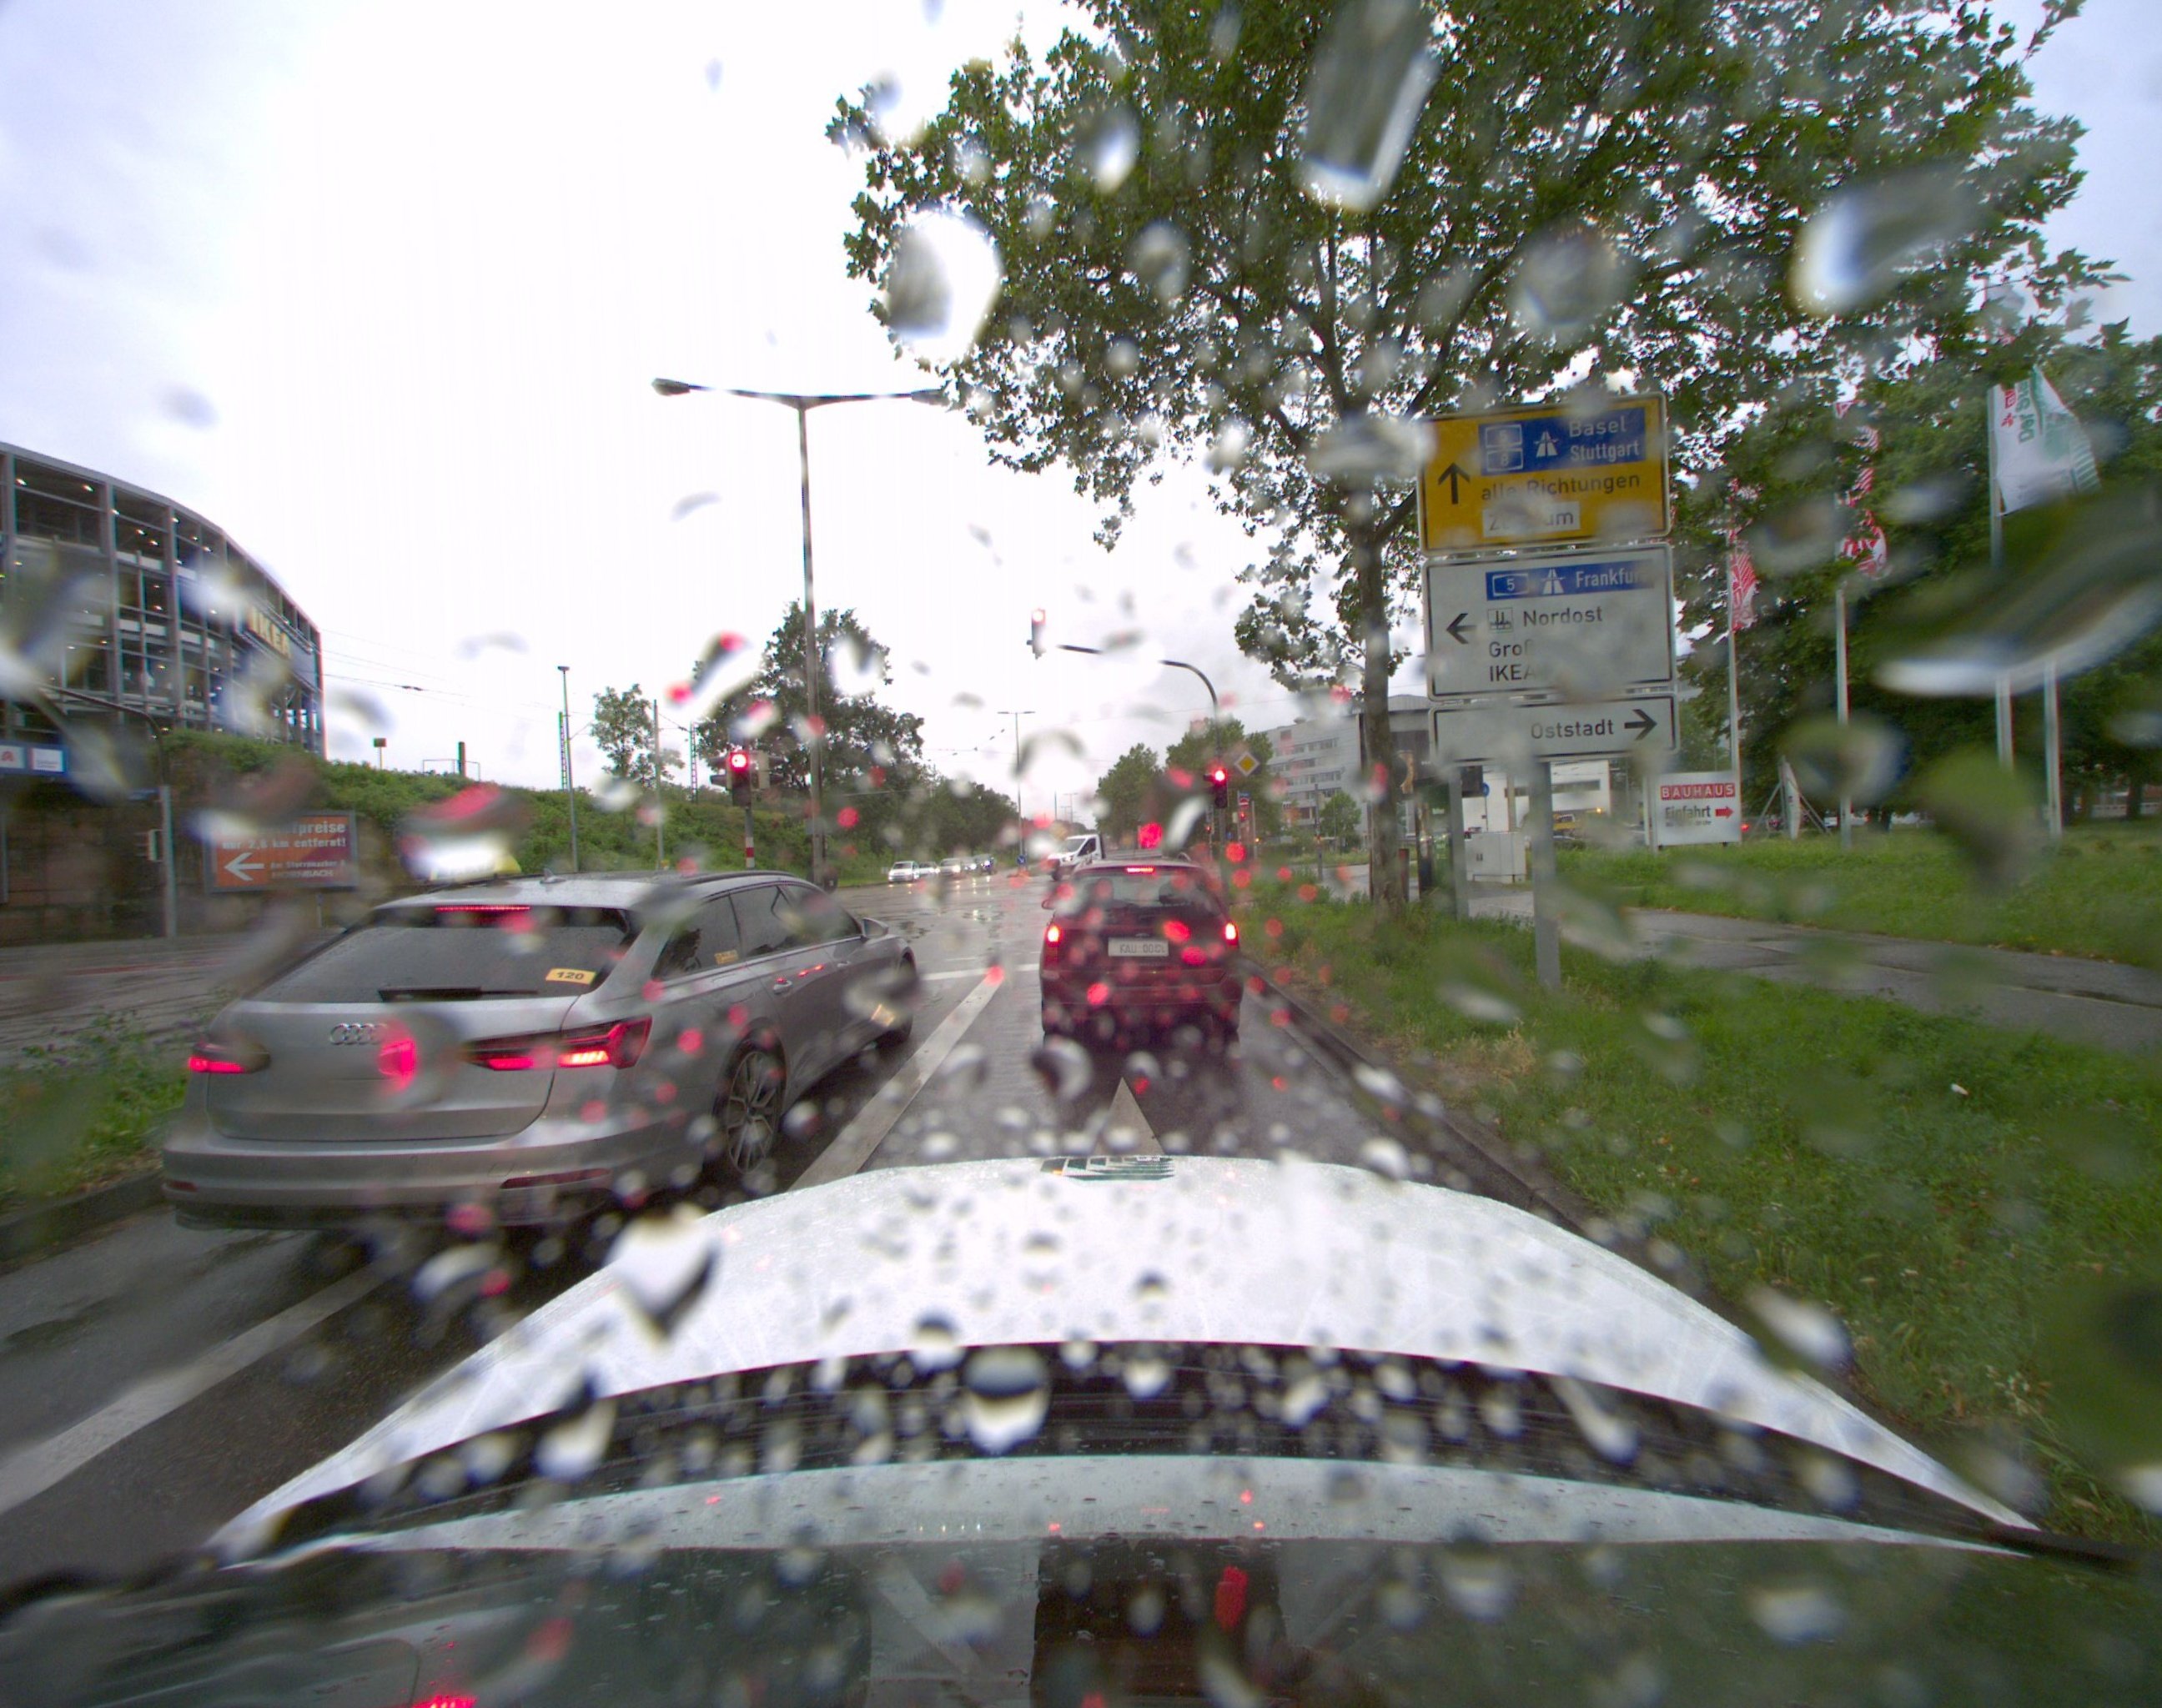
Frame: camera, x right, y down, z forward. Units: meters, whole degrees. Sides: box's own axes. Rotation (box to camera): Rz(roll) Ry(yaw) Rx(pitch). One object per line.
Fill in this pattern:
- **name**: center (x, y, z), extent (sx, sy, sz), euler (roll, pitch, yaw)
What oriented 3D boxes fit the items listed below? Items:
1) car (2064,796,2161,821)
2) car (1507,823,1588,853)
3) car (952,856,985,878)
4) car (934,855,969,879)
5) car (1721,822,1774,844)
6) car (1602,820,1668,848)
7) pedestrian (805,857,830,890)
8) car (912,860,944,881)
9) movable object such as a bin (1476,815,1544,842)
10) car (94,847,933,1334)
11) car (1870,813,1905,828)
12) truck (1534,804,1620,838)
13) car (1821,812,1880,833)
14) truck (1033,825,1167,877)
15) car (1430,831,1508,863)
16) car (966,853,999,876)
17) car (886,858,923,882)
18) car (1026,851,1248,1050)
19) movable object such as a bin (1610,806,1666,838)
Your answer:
- **car**: center (88.539, -3.898, 69.314), extent (2.286, 1.731, 5.899), euler (-3, 0, -33)
- **car**: center (26.647, -0.918, 46.477), extent (4.847, 1.491, 1.908), euler (-2, 0, -32)
- **car**: center (-8.734, 0.984, 63.594), extent (1.756, 1.586, 4.813), euler (-3, -1, 0)
- **car**: center (-8.947, 0.865, 56.533), extent (1.632, 1.473, 3.966), euler (-3, 0, 1)
- **car**: center (51.687, -1.624, 63.132), extent (4.645, 1.586, 1.907), euler (-2, -1, -34)
- **car**: center (35.899, -1.308, 52.773), extent (4.644, 1.586, 1.907), euler (-2, 0, -34)
- **pedestrian**: center (-14.951, 1.098, 46.212), extent (1.102, 1.847, 1.126), euler (-3, 0, -10)
- **car**: center (-11.574, 1.214, 61.879), extent (1.585, 1.404, 3.823), euler (-3, 0, 1)
- **movable object such as a bin**: center (53.774, -3.176, 102.169), extent (3.342, 2.995, 6.650), euler (-3, 0, -34)
- **car**: center (-2.288, 0.758, 5.062), extent (1.763, 1.574, 4.822), euler (0, 0, 1)
- **car**: center (89.548, -3.716, 90.412), extent (4.645, 1.586, 1.907), euler (-2, -1, -34)
- **truck**: center (57.973, -3.827, 95.387), extent (3.342, 3.507, 7.806), euler (-3, 0, -33)
- **car**: center (68.810, -2.815, 72.837), extent (4.625, 1.586, 1.915), euler (-2, -1, -19)
- **truck**: center (1.085, -0.200, 42.084), extent (6.902, 2.365, 2.454), euler (-3, 0, -39)
- **car**: center (19.714, -0.361, 41.342), extent (3.829, 1.491, 1.662), euler (-2, 0, -31)
- **car**: center (-8.654, 0.862, 71.843), extent (2.058, 1.819, 5.542), euler (-3, 0, 1)
- **car**: center (-11.977, 1.055, 55.559), extent (1.633, 1.452, 3.786), euler (-3, 0, 0)
- **car**: center (0.447, 0.710, 7.921), extent (1.636, 1.465, 3.733), euler (0, 0, 1)
- **movable object such as a bin**: center (66.850, -3.837, 97.657), extent (6.347, 3.507, 3.293), euler (-3, 0, -34)
